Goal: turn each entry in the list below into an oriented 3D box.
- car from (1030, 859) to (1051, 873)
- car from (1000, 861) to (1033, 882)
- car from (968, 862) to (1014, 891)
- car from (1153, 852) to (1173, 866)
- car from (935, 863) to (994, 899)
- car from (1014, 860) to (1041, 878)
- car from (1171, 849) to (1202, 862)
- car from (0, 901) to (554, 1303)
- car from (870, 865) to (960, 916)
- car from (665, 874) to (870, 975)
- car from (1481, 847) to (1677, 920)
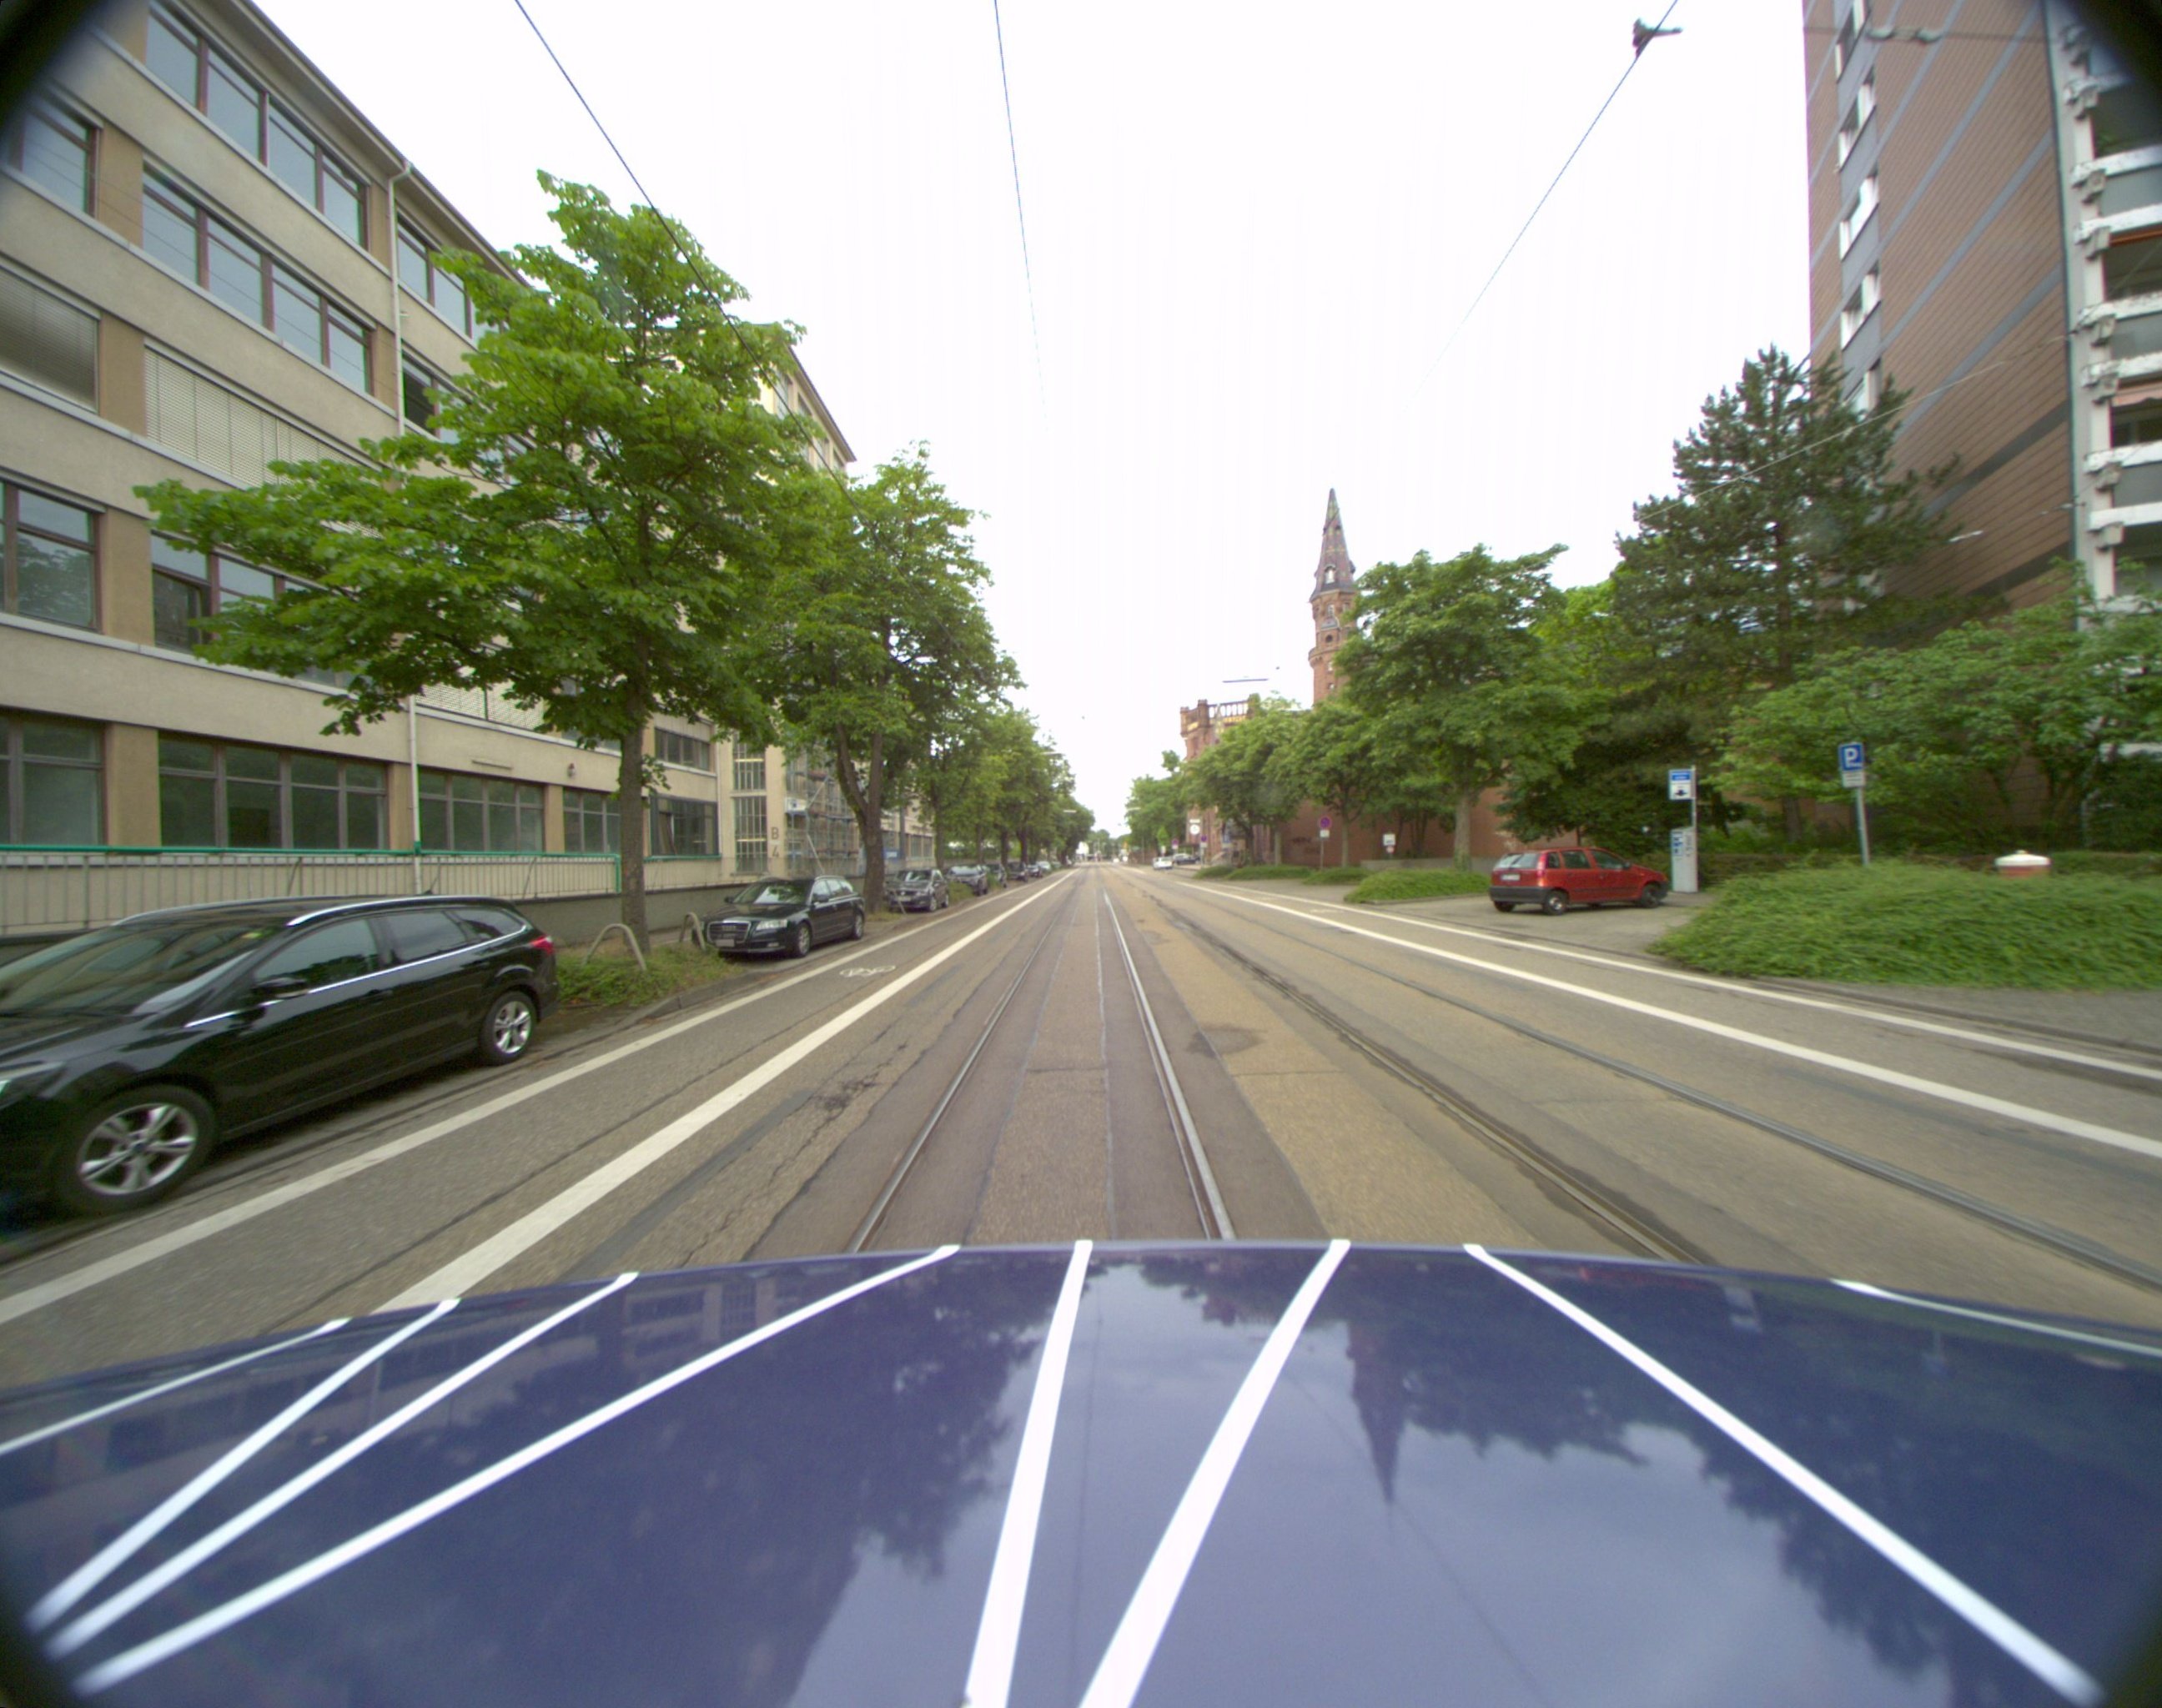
[{"bbox_3d":[-4.407,1.280,83.795,1.998,1.452,4.393,-2,0,1],"label":"car"},{"bbox_3d":[-4.893,1.335,58.247,1.998,1.452,4.393,-2,0,1],"label":"car"},{"bbox_3d":[-5.086,1.260,43.398,1.998,1.452,4.393,-2,0,1],"label":"car"},{"bbox_3d":[9.879,0.566,91.441,1.998,1.521,4.000,-2,0,1],"label":"car"},{"bbox_3d":[-5.332,1.202,35.352,1.998,1.452,4.393,-2,0,1],"label":"car"},{"bbox_3d":[-4.885,1.340,69.938,1.998,1.452,4.393,-2,0,1],"label":"car"},{"bbox_3d":[13.552,0.241,98.069,3.844,1.521,1.798,-2,0,5],"label":"car"},{"bbox_3d":[-5.701,1.196,4.929,1.825,1.491,4.105,0,1,-3],"label":"car"},{"bbox_3d":[-5.558,1.180,25.960,1.998,1.452,4.393,-2,0,1],"label":"car"},{"bbox_3d":[-5.700,1.208,14.542,1.998,1.452,4.393,-2,0,1],"label":"car"},{"bbox_3d":[10.972,0.593,16.804,3.504,1.369,1.632,-2,1,-13],"label":"car"}]
